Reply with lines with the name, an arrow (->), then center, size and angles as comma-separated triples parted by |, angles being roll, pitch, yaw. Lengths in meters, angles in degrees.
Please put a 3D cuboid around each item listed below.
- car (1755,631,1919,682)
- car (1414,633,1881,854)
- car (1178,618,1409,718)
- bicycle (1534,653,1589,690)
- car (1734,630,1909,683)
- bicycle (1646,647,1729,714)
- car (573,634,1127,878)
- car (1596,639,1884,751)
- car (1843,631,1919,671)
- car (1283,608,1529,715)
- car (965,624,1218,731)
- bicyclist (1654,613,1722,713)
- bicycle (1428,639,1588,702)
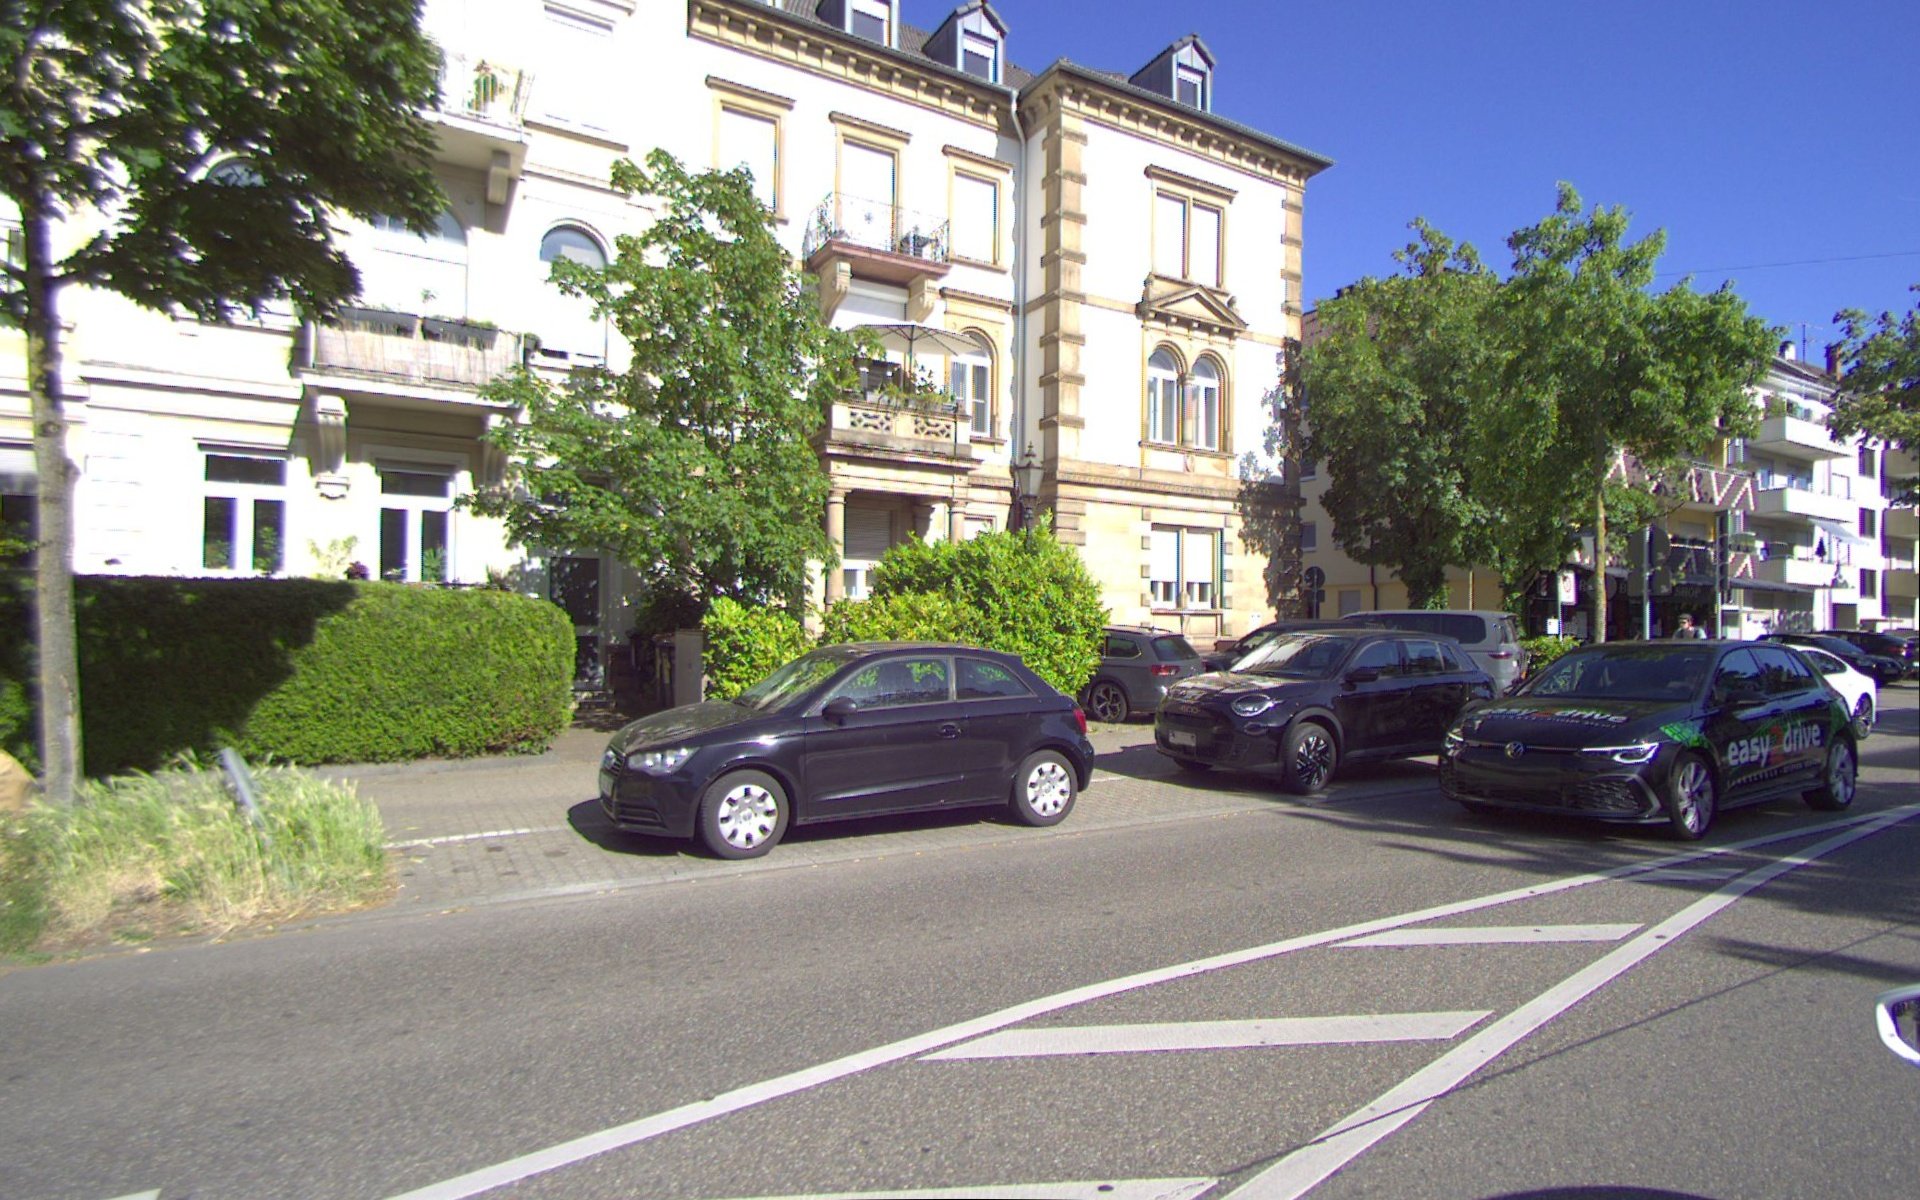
car -> 28.979, 1.808, 33.164 | 1.707, 1.480, 3.981 | 1, 0, -21
car -> 5.921, 1.052, 8.545 | 4.126, 1.472, 1.683 | 1, -4, -31
car -> 6.281, 1.207, 19.071 | 3.857, 1.666, 1.674 | 0, 0, 37
bicycle -> 17.095, 2.032, 28.554 | 1.734, 0.972, 0.402 | 0, -1, -24
car -> 26.998, 1.724, 31.652 | 1.702, 1.475, 3.991 | 0, 0, -11
bicycle -> 13.753, 1.497, 18.968 | 2.167, 1.208, 0.446 | 1, -2, -31
car -> -0.781, 1.024, 7.922 | 4.042, 1.435, 1.629 | 1, 0, -30
car -> 11.819, 1.317, 15.140 | 4.746, 1.407, 1.824 | 1, -1, -31
car -> 38.206, 2.022, 40.171 | 1.859, 1.506, 3.968 | 1, 0, -30
car -> 8.928, 1.137, 20.237 | 4.257, 1.904, 1.873 | 0, 0, 35
car -> 2.132, 1.195, 16.654 | 3.853, 1.508, 1.628 | 0, 0, 33
bicyclist -> 13.775, 1.178, 19.009 | 1.042, 1.848, 0.655 | 1, -2, -30
bicycle -> 12.375, 1.583, 22.824 | 3.116, 1.278, 0.951 | 1, -3, 26
